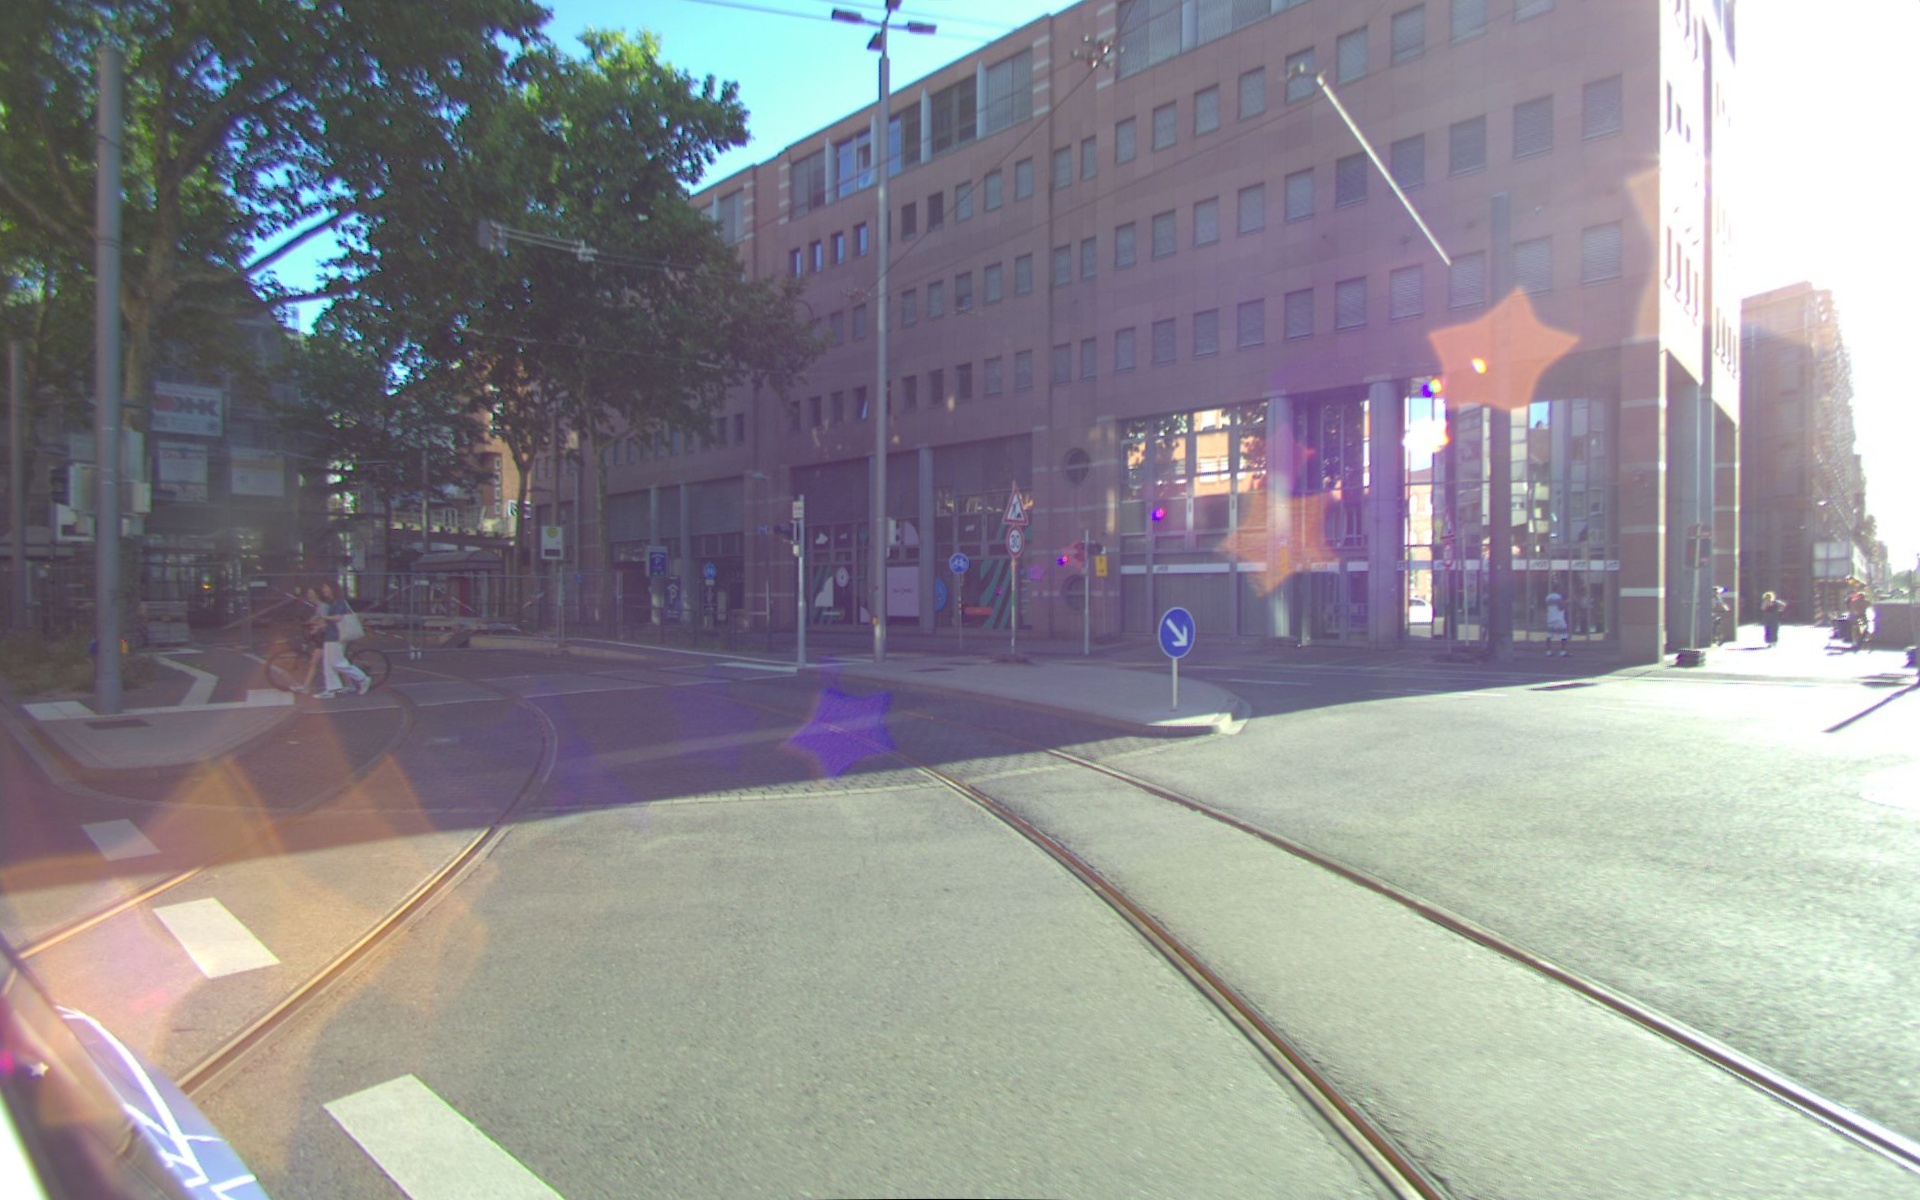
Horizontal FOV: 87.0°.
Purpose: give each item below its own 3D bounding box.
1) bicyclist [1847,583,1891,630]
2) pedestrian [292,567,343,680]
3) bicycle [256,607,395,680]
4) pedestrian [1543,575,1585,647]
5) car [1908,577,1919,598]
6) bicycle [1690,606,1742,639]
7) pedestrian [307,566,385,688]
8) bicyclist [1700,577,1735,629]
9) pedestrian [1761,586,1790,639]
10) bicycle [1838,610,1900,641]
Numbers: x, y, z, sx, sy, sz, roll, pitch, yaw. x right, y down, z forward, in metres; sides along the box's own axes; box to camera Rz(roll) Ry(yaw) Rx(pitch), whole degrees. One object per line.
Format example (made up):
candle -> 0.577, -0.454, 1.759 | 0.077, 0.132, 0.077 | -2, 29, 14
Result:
bicyclist -> 26.328, 0.182, 29.323 | 0.612, 1.322, 0.951 | 0, 0, 20
pedestrian -> -9.912, 0.353, 15.608 | 0.531, 1.692, 0.560 | 0, 0, 44
bicycle -> -10.096, 0.663, 16.156 | 0.481, 1.086, 1.809 | 0, 0, 44
pedestrian -> 13.982, 0.238, 23.423 | 0.723, 1.630, 0.633 | 0, 0, 41
car -> 137.170, -1.726, 141.665 | 6.292, 2.928, 2.537 | 1, 2, 37
bicycle -> 22.206, 0.652, 29.756 | 0.578, 0.919, 1.954 | 0, 0, 17
pedestrian -> -9.194, 0.389, 15.143 | 0.848, 1.747, 0.769 | 0, 0, 40
bicyclist -> 22.147, 0.082, 29.585 | 0.578, 1.496, 0.745 | -1, 0, 18
pedestrian -> 24.097, 0.352, 29.901 | 0.560, 1.548, 0.486 | 0, 0, 26
bicycle -> 26.341, 0.730, 29.362 | 0.612, 0.814, 2.005 | 0, 0, 20
